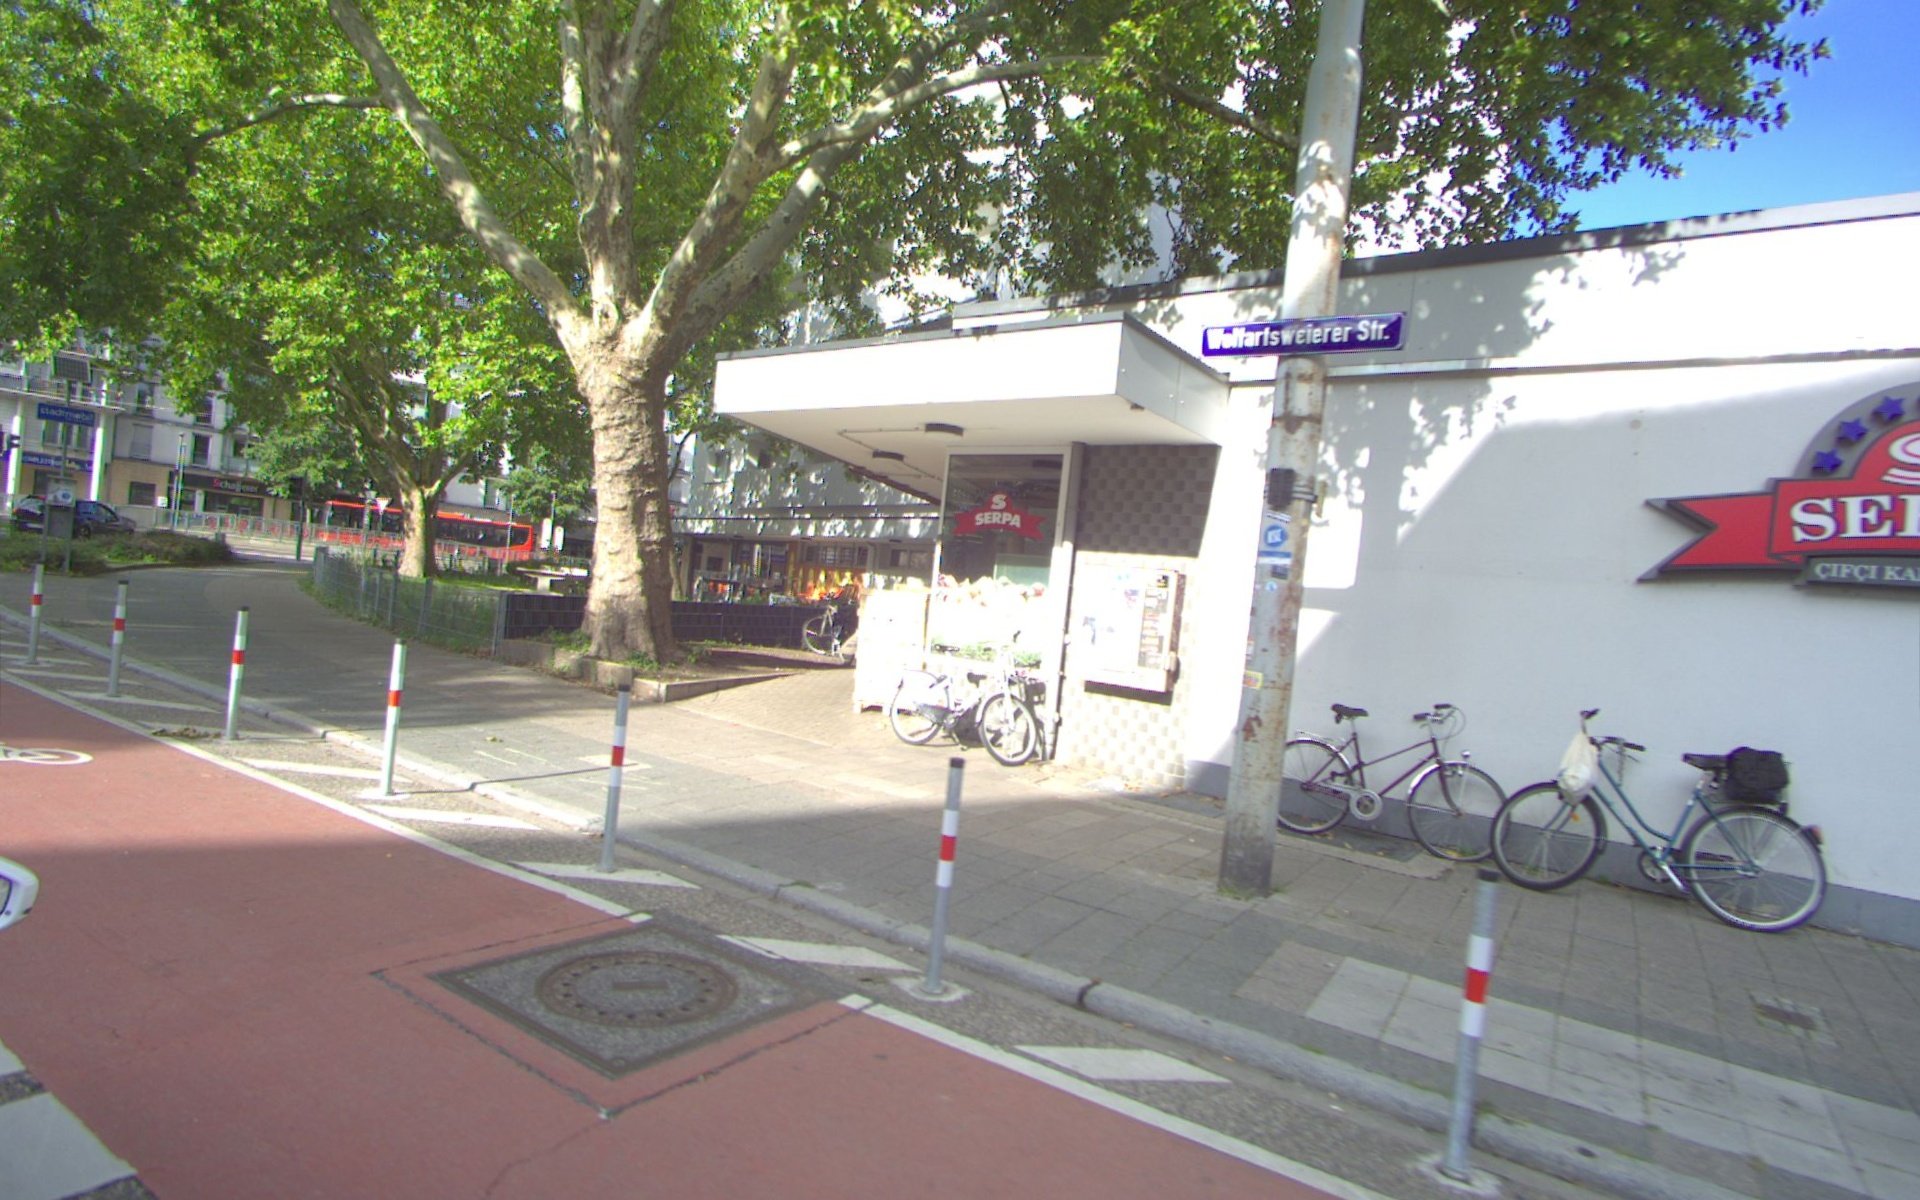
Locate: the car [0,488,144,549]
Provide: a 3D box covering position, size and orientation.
[{"bbox_3d":[-27.921,-2.516,31.646,1.729,1.431,3.991,7,-1,-12],"label":"car"}]

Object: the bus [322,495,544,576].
[{"bbox_3d":[-33.927,-4.055,65.281,12.199,3.593,2.997,7,1,-38],"label":"bus"}]

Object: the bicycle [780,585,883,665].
[{"bbox_3d":[-2.096,0.380,16.236,0.742,1.051,1.838,10,-2,-35],"label":"bicycle"}]

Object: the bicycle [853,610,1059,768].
[{"bbox_3d":[-0.060,0.778,9.475,1.787,1.222,0.711,6,4,34],"label":"bicycle"}]

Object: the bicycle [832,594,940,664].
[{"bbox_3d":[-1.388,0.534,18.969,1.821,1.085,0.692,6,2,17],"label":"bicycle"}]

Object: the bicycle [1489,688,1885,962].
[{"bbox_3d":[4.415,1.294,6.272,1.787,1.222,0.768,7,2,36],"label":"bicycle"}]

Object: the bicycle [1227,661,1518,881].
[{"bbox_3d":[2.986,1.174,7.360,1.743,1.221,0.711,7,1,36],"label":"bicycle"}]
